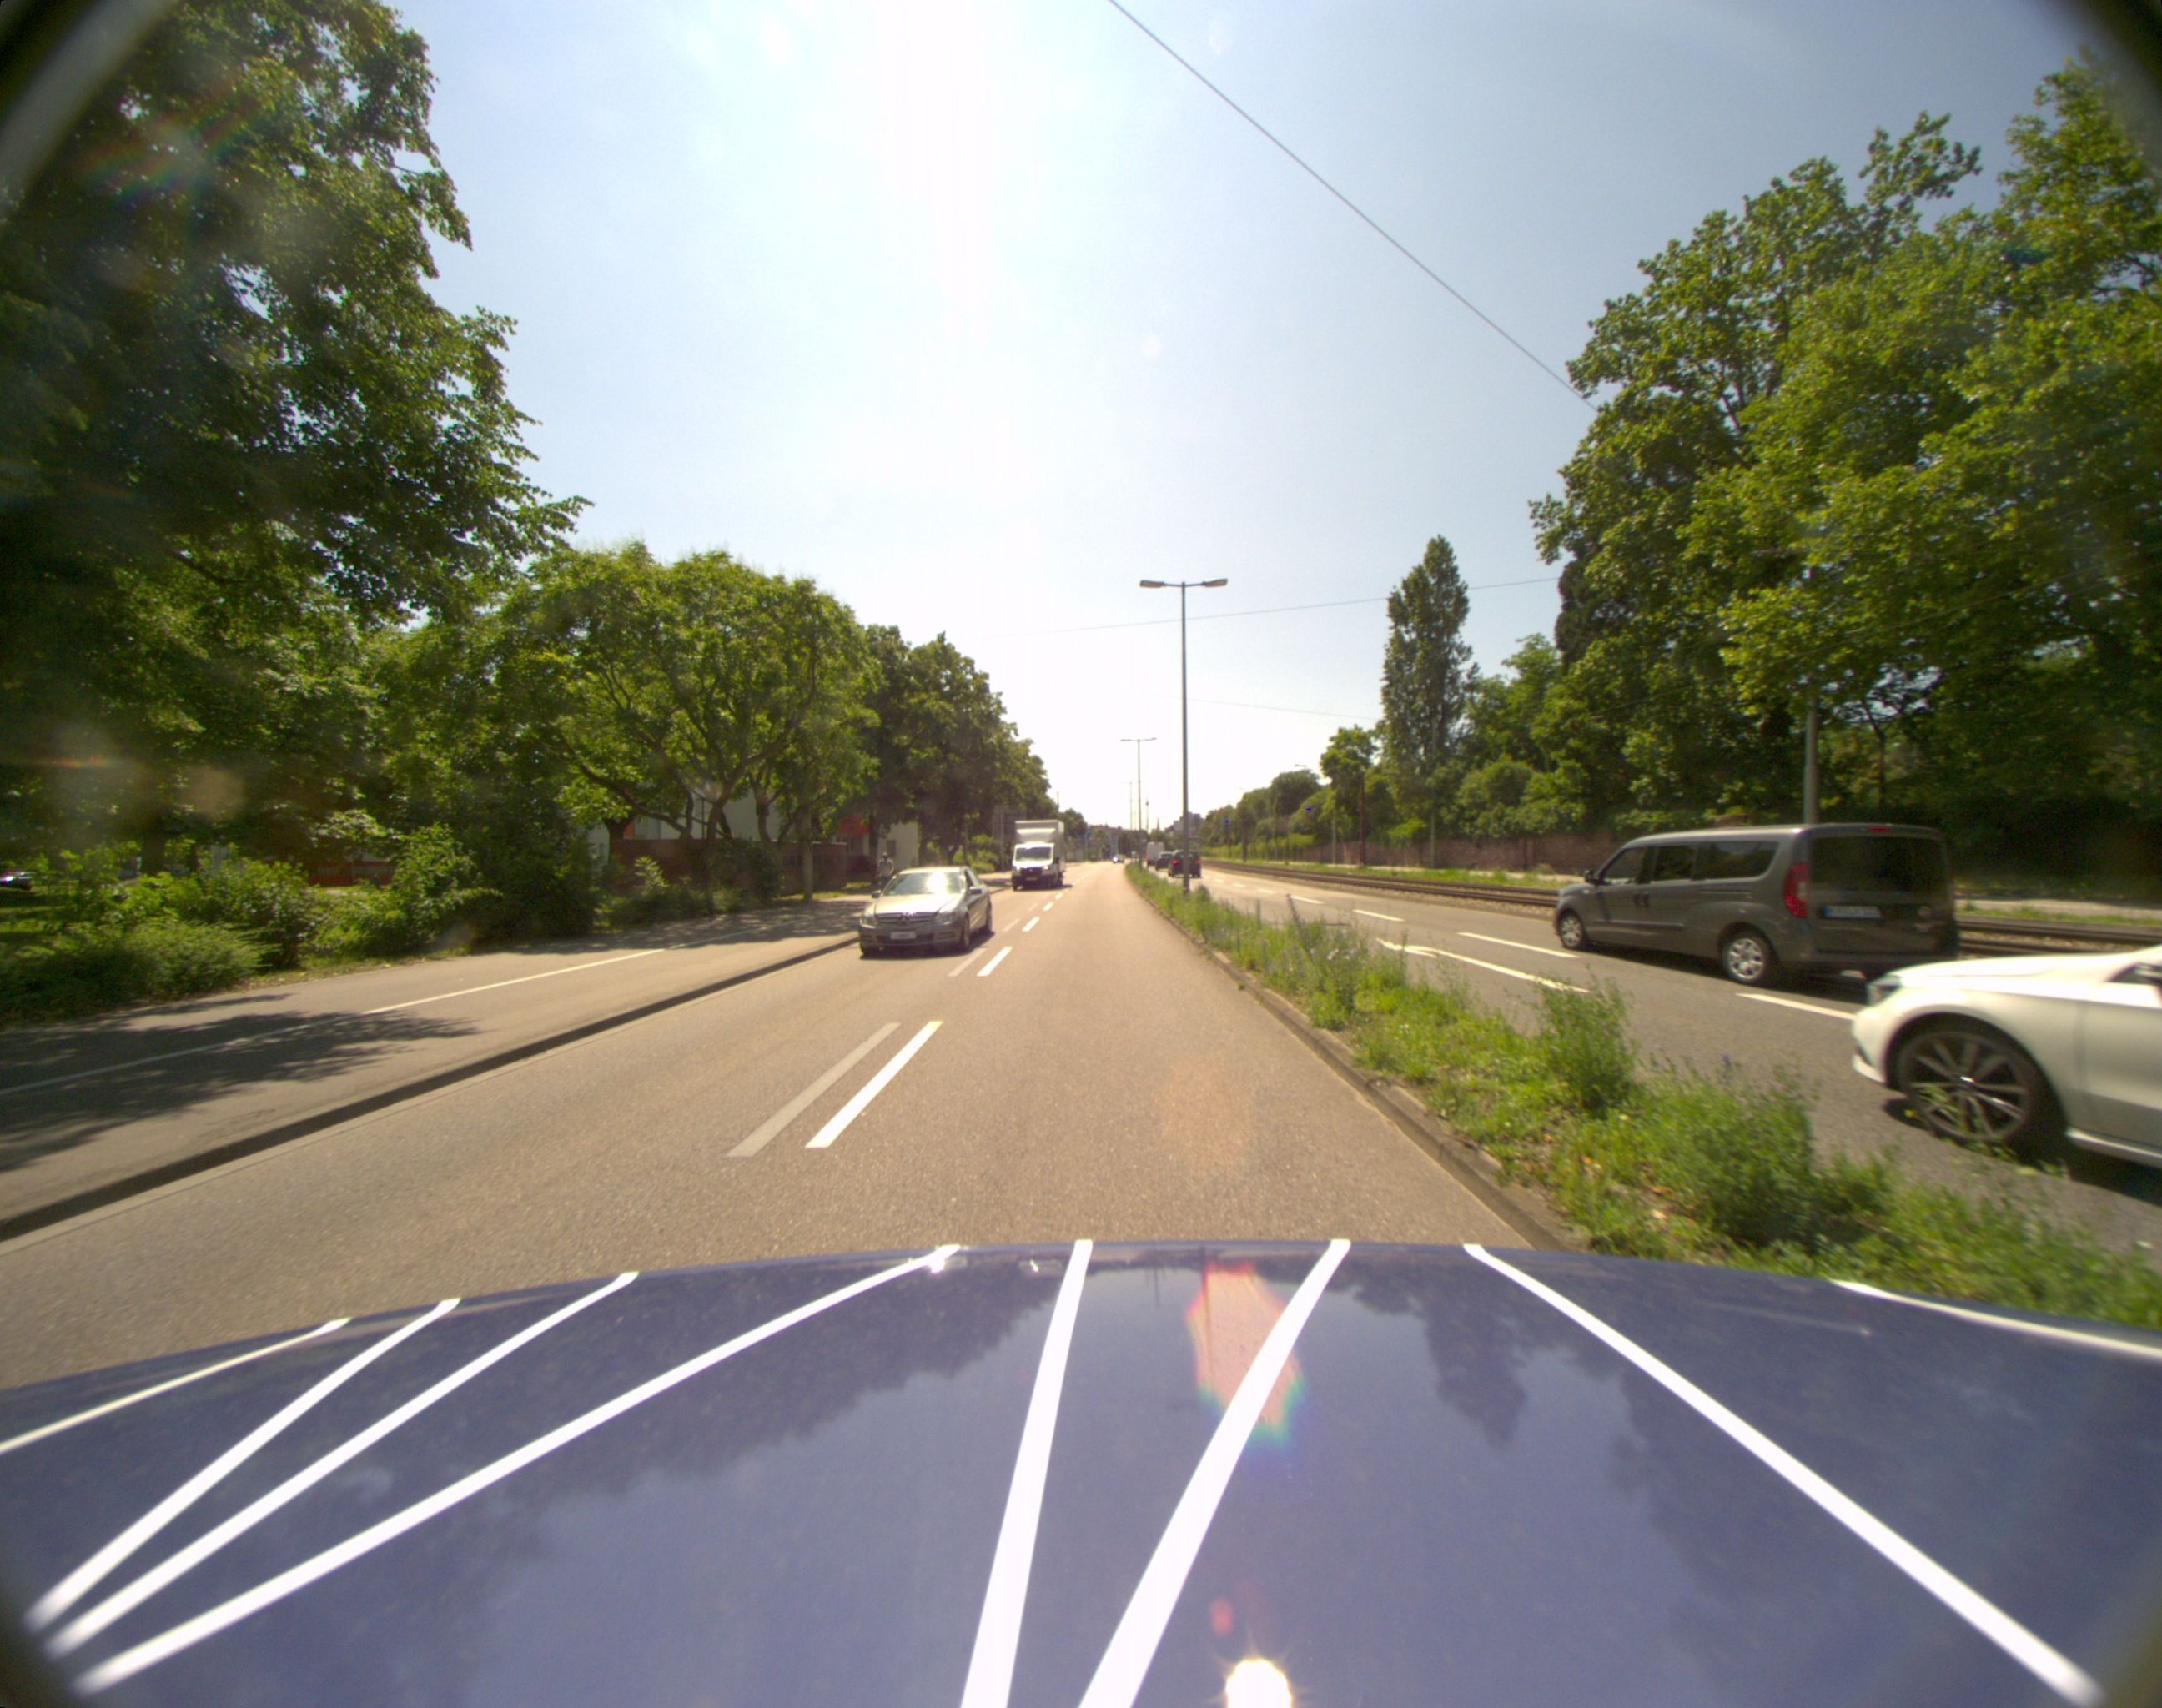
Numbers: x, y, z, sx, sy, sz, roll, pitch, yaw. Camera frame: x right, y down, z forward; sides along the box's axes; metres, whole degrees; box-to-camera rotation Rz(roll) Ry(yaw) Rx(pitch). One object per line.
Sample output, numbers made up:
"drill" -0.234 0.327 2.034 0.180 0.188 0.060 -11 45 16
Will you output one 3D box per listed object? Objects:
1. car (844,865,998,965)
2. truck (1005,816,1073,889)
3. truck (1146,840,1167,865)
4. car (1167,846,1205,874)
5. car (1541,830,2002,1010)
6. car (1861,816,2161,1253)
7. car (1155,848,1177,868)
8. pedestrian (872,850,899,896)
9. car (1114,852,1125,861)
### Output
"car" -2.748 0.995 13.992 1.903 1.451 3.971 -2 0 0
"truck" -1.938 -0.134 38.534 2.293 3.259 8.313 -1 1 4
"truck" 8.488 -0.190 85.960 2.086 2.732 5.547 0 0 2
"car" 6.688 0.351 48.944 1.834 1.703 4.793 0 0 0
"car" 8.319 0.649 9.937 1.834 1.791 4.614 0 1 1
"car" 5.189 0.727 2.137 1.834 1.728 4.037 0 1 1
"car" 7.514 0.314 67.141 1.833 1.746 4.490 0 0 5
"pedestrian" -7.044 0.676 27.407 0.670 1.634 0.856 -1 1 2
"car" 6.727 0.384 132.416 1.829 1.556 4.000 -1 0 1
